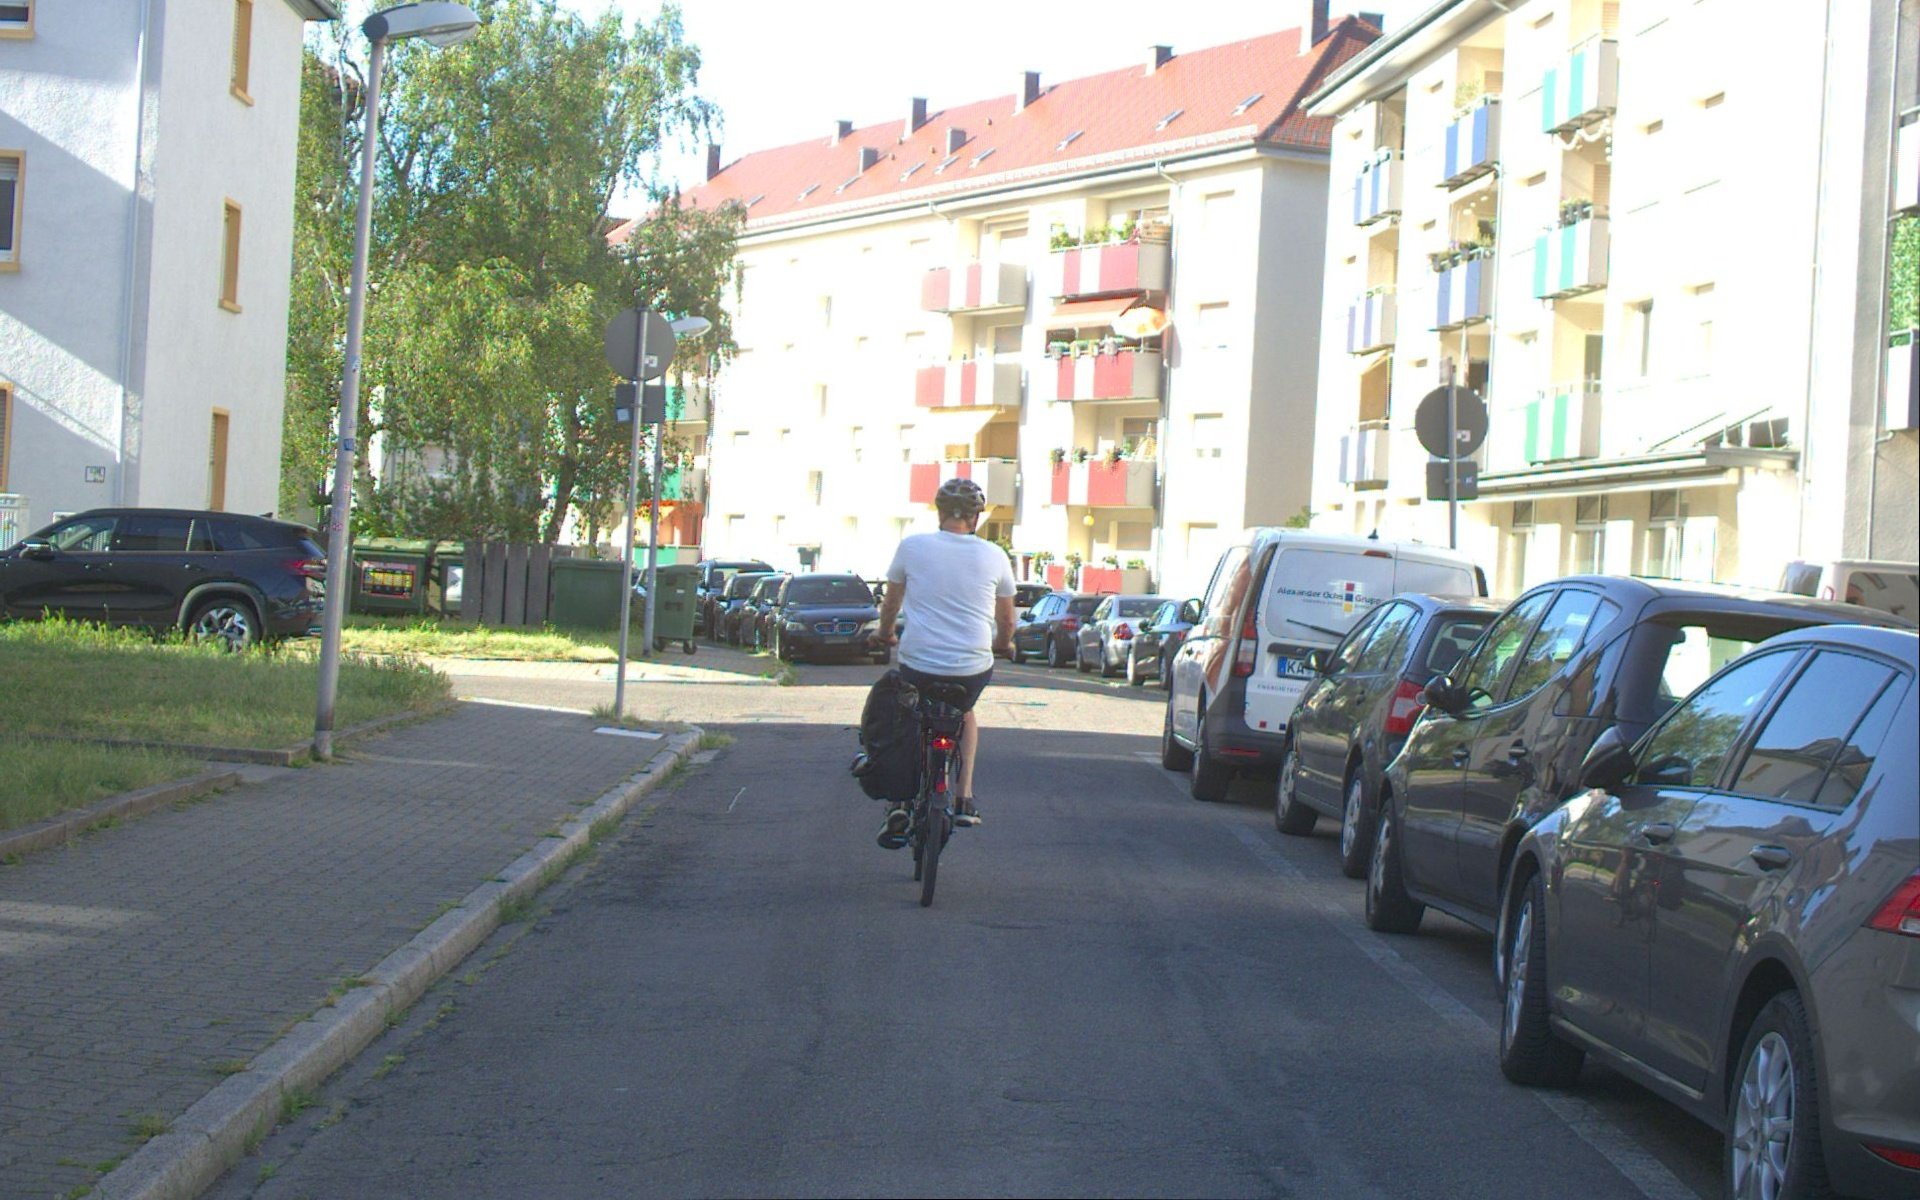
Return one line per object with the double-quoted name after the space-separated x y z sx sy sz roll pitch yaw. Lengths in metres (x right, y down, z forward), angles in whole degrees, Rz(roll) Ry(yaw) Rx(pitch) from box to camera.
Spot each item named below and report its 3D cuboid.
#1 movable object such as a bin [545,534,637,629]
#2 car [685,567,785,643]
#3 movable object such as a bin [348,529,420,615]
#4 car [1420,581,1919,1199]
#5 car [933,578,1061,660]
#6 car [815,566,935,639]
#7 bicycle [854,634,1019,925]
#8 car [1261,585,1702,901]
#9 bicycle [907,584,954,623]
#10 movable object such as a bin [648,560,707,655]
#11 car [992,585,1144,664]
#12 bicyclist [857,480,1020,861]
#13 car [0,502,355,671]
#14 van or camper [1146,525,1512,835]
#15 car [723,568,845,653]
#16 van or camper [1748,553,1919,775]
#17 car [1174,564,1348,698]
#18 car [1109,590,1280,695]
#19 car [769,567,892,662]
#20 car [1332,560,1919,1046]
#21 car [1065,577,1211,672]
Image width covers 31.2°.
-5.669 -0.282 52.856 1.220 1.376 0.767 4 0 2 "movable object such as a bin"
-4.387 0.076 66.600 1.555 1.437 3.969 0 1 -9 "car"
-9.703 -0.473 57.930 1.060 1.430 1.003 1 0 -3 "movable object such as a bin"
2.436 0.803 8.717 1.628 1.445 3.953 5 2 -4 "car"
0.756 0.386 72.957 1.693 1.650 4.391 1 0 -13 "car"
-2.136 0.053 85.363 1.765 1.630 4.043 1 2 -20 "car"
-0.120 0.744 14.975 0.627 1.111 1.816 3 1 -2 "bicycle"
2.662 0.679 18.346 1.572 1.412 3.788 2 1 -2 "car"
-0.821 0.082 94.642 0.617 0.975 1.896 -1 3 -22 "bicycle"
-4.304 0.110 52.432 0.775 1.388 1.417 3 0 -3 "movable object such as a bin"
2.035 0.453 66.346 1.693 1.427 4.689 1 0 -14 "car"
-0.102 0.299 14.968 0.596 1.573 0.907 3 0 -1 "bicyclist"
-8.962 -0.150 37.191 4.488 1.658 1.719 2 -1 -1 "car"
2.391 0.464 23.433 1.792 1.741 4.735 5 1 0 "van or camper"
-3.148 0.156 60.709 1.677 1.437 4.281 0 1 -9 "car"
10.575 0.703 33.714 5.123 2.006 2.000 3 2 0 "van or camper"
4.215 0.400 48.696 1.746 1.818 4.132 0 1 -5 "car"
3.665 0.641 54.524 1.677 1.402 4.547 4 1 -9 "car"
-2.108 0.202 54.878 1.677 1.448 4.621 0 1 -6 "car"
2.648 0.679 13.422 1.617 1.545 3.612 4 1 -5 "car"
3.086 0.398 60.468 1.677 1.442 4.725 4 1 -7 "car"
